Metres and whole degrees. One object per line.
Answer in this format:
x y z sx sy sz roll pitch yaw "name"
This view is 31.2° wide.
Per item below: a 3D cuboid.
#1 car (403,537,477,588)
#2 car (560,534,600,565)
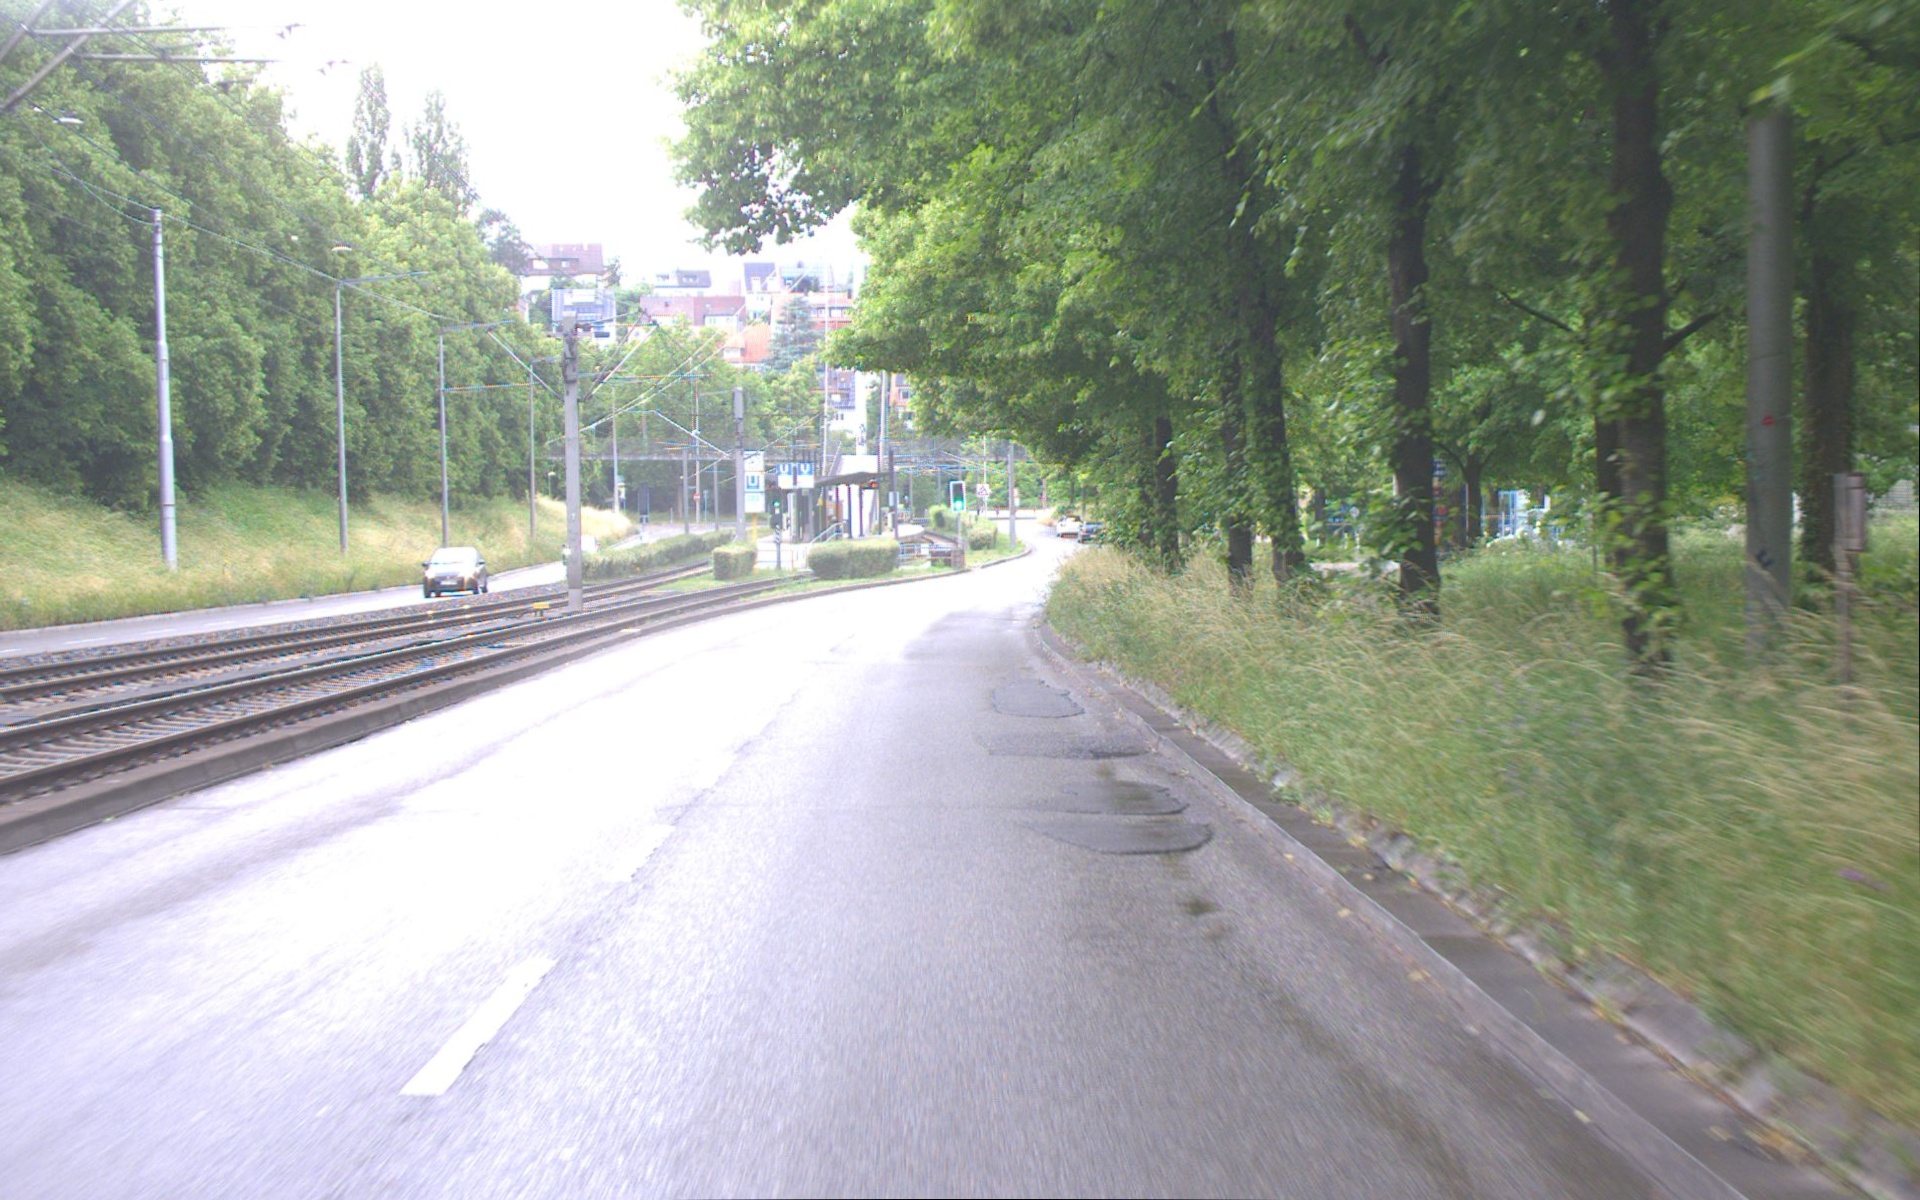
-15.945 -1.169 105.606 1.669 1.438 4.027 -3 1 -1 "car"
-20.029 -2.659 181.246 1.784 1.546 3.962 -2 1 -3 "car"
